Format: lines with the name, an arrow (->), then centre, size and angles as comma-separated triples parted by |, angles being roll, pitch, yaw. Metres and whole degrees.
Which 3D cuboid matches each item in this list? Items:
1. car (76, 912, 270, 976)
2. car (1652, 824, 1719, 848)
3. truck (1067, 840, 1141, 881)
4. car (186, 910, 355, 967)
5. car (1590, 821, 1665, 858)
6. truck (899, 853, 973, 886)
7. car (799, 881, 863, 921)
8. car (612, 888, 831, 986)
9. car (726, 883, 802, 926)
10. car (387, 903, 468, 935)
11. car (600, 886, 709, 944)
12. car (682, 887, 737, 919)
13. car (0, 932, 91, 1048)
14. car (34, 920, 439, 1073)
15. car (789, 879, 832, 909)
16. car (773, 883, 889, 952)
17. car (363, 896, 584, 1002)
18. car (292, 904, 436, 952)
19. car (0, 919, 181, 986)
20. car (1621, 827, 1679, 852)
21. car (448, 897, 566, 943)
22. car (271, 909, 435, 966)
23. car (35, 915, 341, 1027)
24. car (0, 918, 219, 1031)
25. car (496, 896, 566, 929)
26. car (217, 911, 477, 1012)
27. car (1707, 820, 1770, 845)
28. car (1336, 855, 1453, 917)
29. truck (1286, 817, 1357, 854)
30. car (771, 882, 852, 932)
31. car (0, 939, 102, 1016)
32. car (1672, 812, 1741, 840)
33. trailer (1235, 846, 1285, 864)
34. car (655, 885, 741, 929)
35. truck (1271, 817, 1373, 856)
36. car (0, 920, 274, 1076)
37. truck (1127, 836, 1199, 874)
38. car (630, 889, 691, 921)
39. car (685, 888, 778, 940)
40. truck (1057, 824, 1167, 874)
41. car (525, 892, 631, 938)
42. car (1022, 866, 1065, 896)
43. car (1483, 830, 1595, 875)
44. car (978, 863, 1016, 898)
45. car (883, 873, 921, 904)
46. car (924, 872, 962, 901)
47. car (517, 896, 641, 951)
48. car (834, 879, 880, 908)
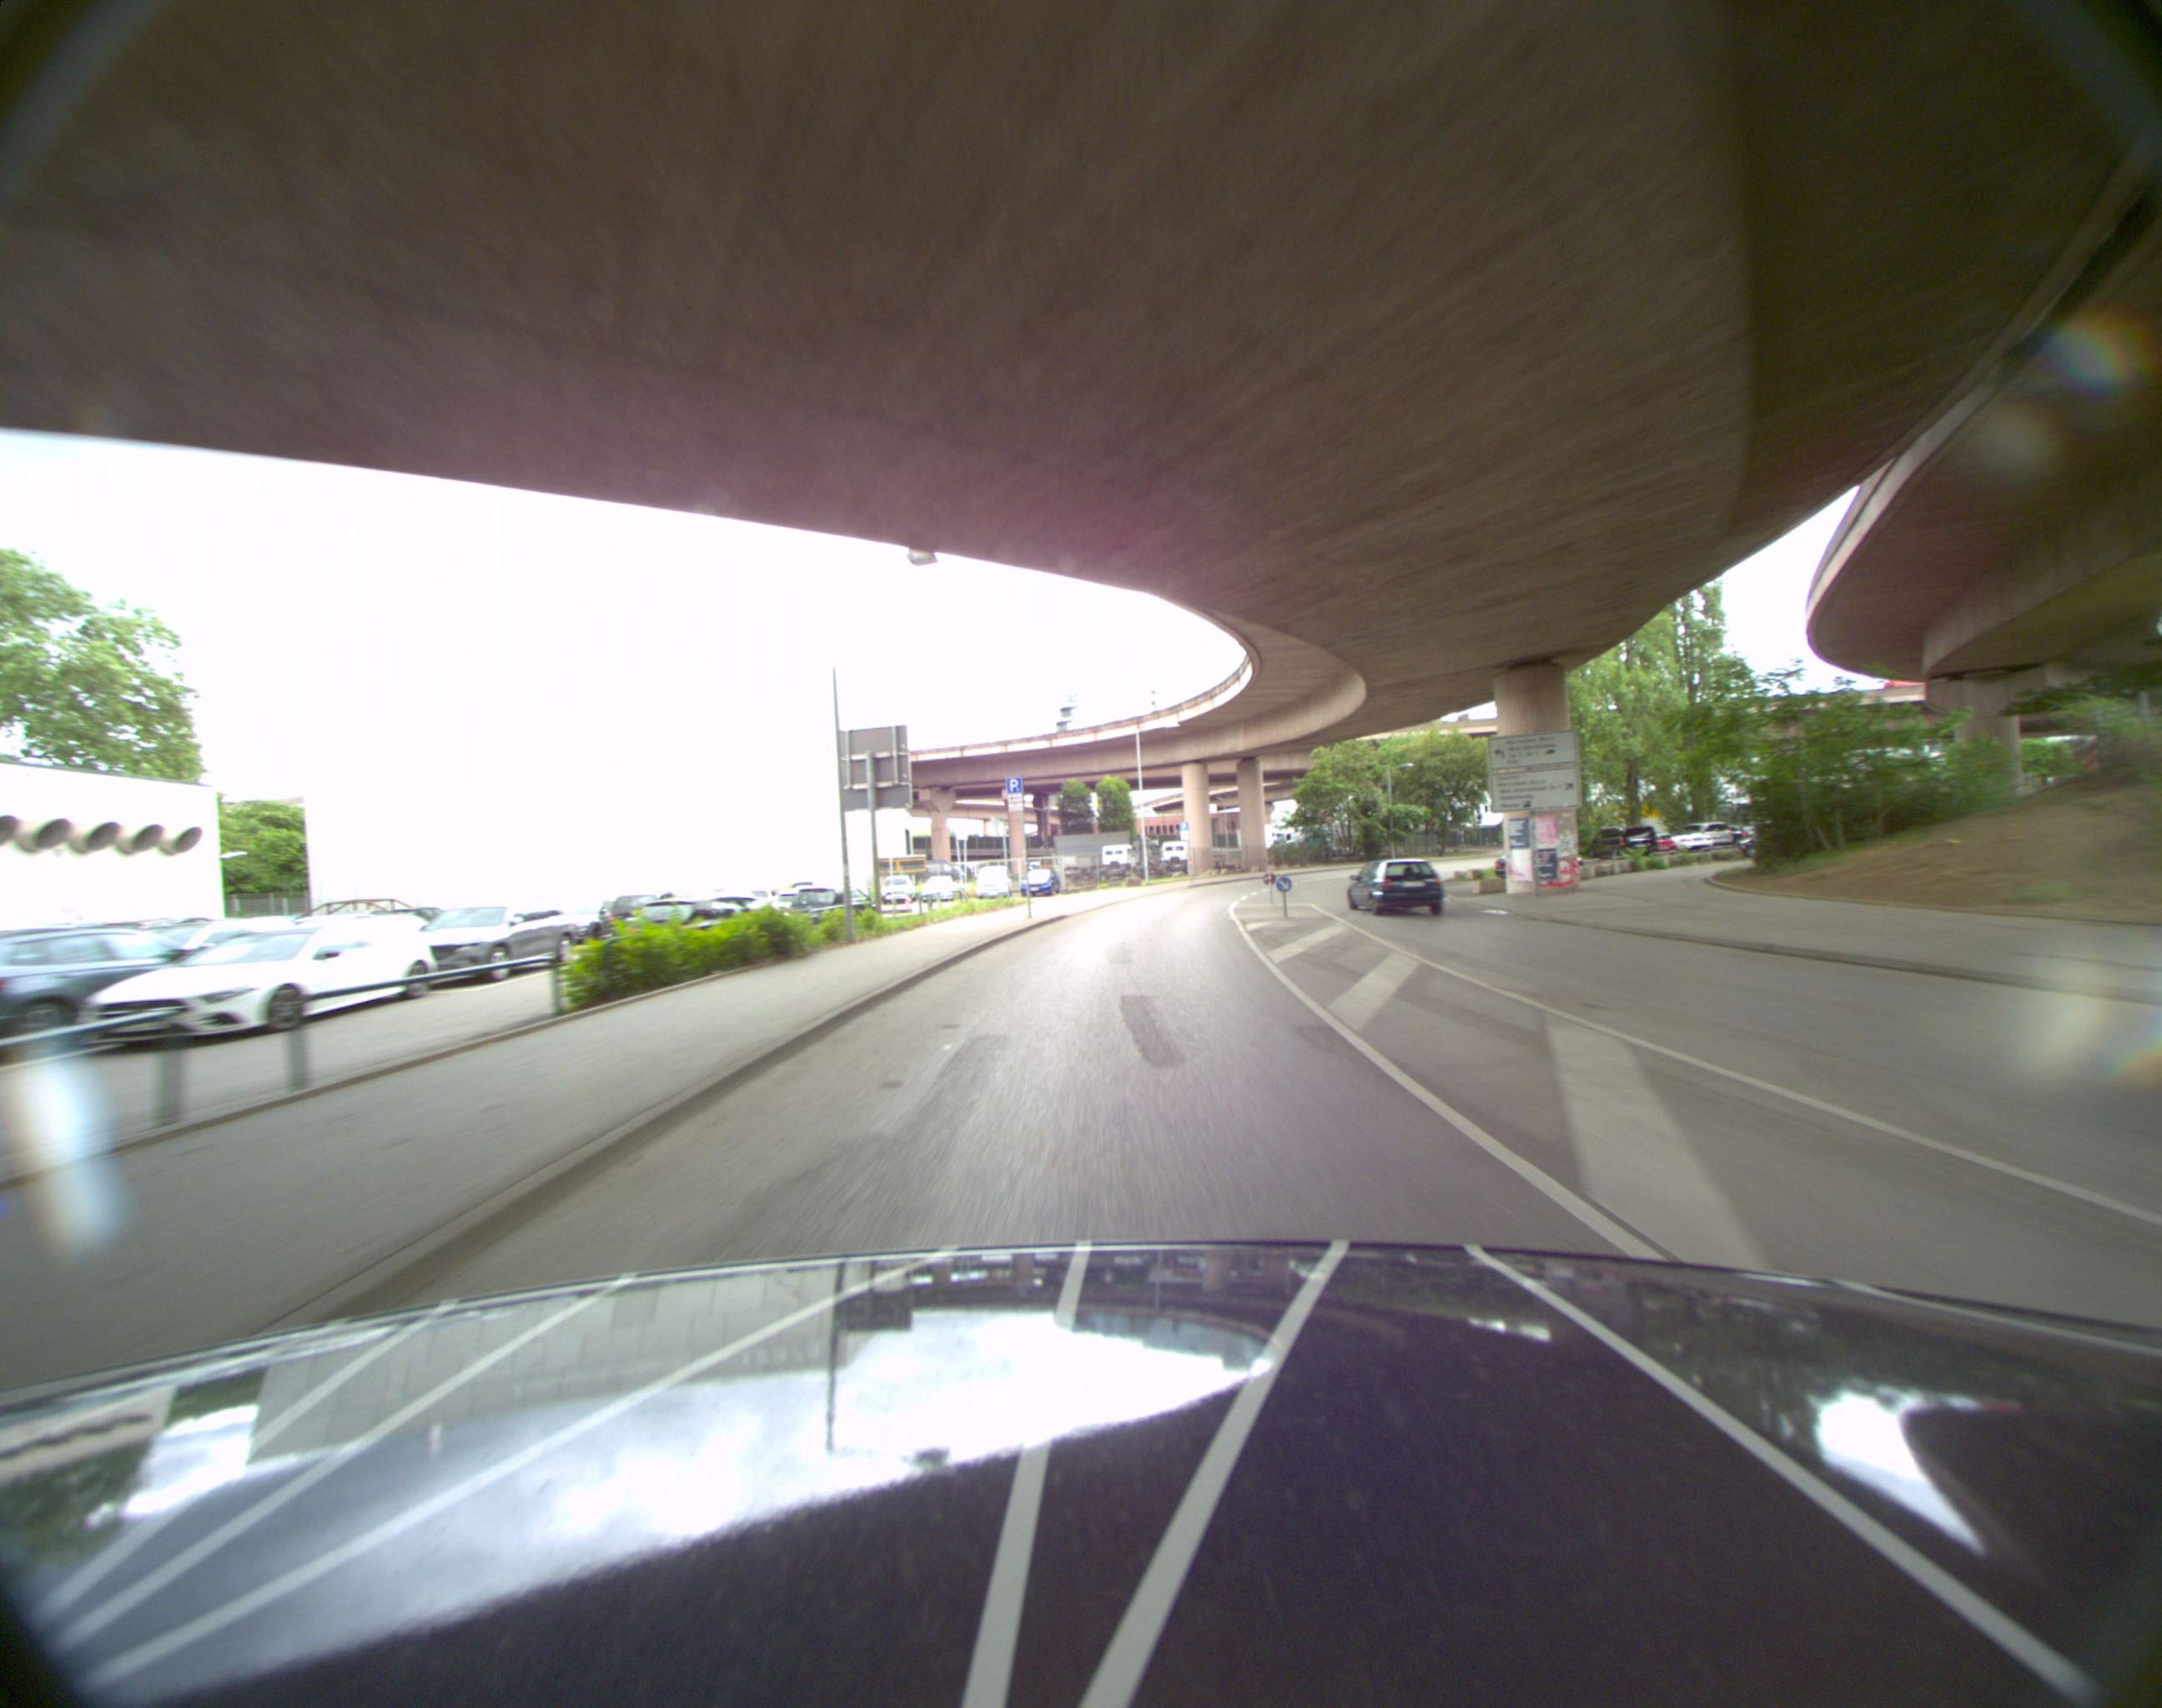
car -> -28.652, 2.777, 24.209 | 1.769, 1.524, 3.973 | -3, 0, -11
car -> 38.246, -1.128, 48.202 | 1.693, 1.356, 4.521 | -3, 1, 16
truck -> 1.909, 0.471, 60.467 | 2.452, 2.869, 6.130 | -3, 0, 40
car -> -26.683, 2.730, 25.233 | 1.769, 1.384, 3.973 | -3, 0, -11
car -> 31.899, -0.853, 44.529 | 1.854, 1.906, 4.978 | -3, 1, 15
truck -> -14.580, 1.567, 76.964 | 6.928, 2.915, 3.049 | -3, 0, -5
car -> -10.871, 2.005, 33.325 | 1.839, 1.417, 4.439 | -3, 0, -8
car -> -7.117, 1.585, 15.607 | 1.732, 1.470, 4.253 | -3, 0, 13
car -> -13.416, 2.091, 32.411 | 1.839, 1.504, 4.498 | -3, 0, -8
car -> -34.286, 3.381, 40.022 | 1.498, 1.330, 4.042 | -3, 0, -14
car -> -14.857, 2.066, 26.775 | 1.858, 1.618, 4.617 | -3, 0, -11
car -> -20.233, 2.625, 41.552 | 1.776, 1.448, 4.356 | -3, 0, -14
car -> -16.391, 2.051, 9.920 | 1.838, 1.583, 4.188 | -3, 0, -11
car -> -12.031, 1.910, 11.365 | 1.838, 1.413, 4.188 | -3, 0, -11
car -> -15.397, 2.249, 43.386 | 1.623, 1.535, 3.096 | -3, 0, -8
car -> -6.304, 1.574, 19.453 | 1.542, 1.470, 2.763 | -3, 0, 13
car -> -12.655, 1.866, 16.253 | 1.746, 1.665, 4.466 | -3, 0, -11
car -> -27.910, 2.828, 29.810 | 1.839, 1.417, 4.439 | -3, 0, -8
car -> -31.080, 2.984, 23.450 | 1.769, 1.524, 4.485 | -3, 0, -11
car -> 34.941, -0.889, 46.755 | 1.562, 1.372, 3.708 | -3, 1, 15
car -> -23.050, 2.617, 30.763 | 1.839, 1.417, 4.439 | -3, 0, -8
car -> -24.177, 2.702, 25.503 | 1.785, 1.384, 4.432 | -3, 0, -11
car -> -17.545, 2.193, 15.301 | 1.757, 1.547, 4.084 | -3, 0, -11
car -> -19.987, 2.295, 14.843 | 1.757, 1.681, 4.428 | -3, 0, -11
car -> -29.248, 3.080, 40.546 | 1.498, 1.451, 4.060 | -3, 0, -14
car -> -15.149, 2.117, 16.104 | 1.757, 1.440, 4.455 | -3, 0, -11
car -> 43.997, -1.466, 50.924 | 1.693, 1.527, 3.631 | -3, 1, 15
car -> 8.165, 0.769, 20.154 | 1.680, 1.422, 4.001 | -2, 0, 4
truck -> 24.471, -1.855, 77.313 | 6.410, 3.389, 2.269 | -3, 1, -5
car -> -9.782, 1.865, 27.982 | 1.858, 1.466, 4.684 | -3, 0, -8
car -> -22.210, 2.572, 14.588 | 1.632, 1.355, 4.402 | -3, 0, -11
car -> 41.739, -1.843, 50.810 | 1.693, 1.664, 4.681 | -3, 1, 15
trailer -> 15.218, 0.077, 64.554 | 4.389, 1.324, 1.602 | -4, 2, -34
car -> -16.164, 2.189, 32.323 | 1.839, 1.504, 4.498 | -3, 0, -8
truck -> 25.498, -1.866, 80.630 | 10.214, 3.478, 2.269 | -3, 2, -8
car -> -14.021, 1.906, 10.455 | 1.838, 1.583, 4.188 | -3, 0, -11
truck -> 6.609, 0.004, 60.470 | 2.418, 2.728, 7.249 | -3, 0, 34
car -> -22.877, 2.741, 41.501 | 1.776, 1.448, 4.356 | -3, 0, -14
car -> -12.453, 2.084, 27.396 | 1.858, 1.466, 4.683 | -3, 0, -11
truck -> 2.948, -0.457, 75.159 | 10.135, 4.340, 3.911 | -3, 0, -9
car -> -20.547, 2.432, 31.302 | 1.839, 1.504, 4.498 | -3, 0, -8
car -> -2.243, 1.629, 46.916 | 1.773, 1.625, 4.688 | -3, 0, 8
car -> 18.128, -0.061, 30.004 | 4.781, 1.421, 1.825 | -3, -2, -34
car -> -5.130, 1.577, 46.988 | 1.893, 1.945, 4.679 | -3, 0, -2
car -> -10.444, 1.961, 44.640 | 1.775, 1.578, 4.358 | -3, 0, -9
car -> -8.125, 1.892, 45.092 | 1.775, 1.448, 4.553 | -3, 0, -6
car -> -17.147, 2.315, 26.256 | 1.858, 1.435, 4.617 | -3, 0, -11
car -> -12.653, 2.191, 43.132 | 1.775, 1.375, 4.358 | -3, 0, -8
